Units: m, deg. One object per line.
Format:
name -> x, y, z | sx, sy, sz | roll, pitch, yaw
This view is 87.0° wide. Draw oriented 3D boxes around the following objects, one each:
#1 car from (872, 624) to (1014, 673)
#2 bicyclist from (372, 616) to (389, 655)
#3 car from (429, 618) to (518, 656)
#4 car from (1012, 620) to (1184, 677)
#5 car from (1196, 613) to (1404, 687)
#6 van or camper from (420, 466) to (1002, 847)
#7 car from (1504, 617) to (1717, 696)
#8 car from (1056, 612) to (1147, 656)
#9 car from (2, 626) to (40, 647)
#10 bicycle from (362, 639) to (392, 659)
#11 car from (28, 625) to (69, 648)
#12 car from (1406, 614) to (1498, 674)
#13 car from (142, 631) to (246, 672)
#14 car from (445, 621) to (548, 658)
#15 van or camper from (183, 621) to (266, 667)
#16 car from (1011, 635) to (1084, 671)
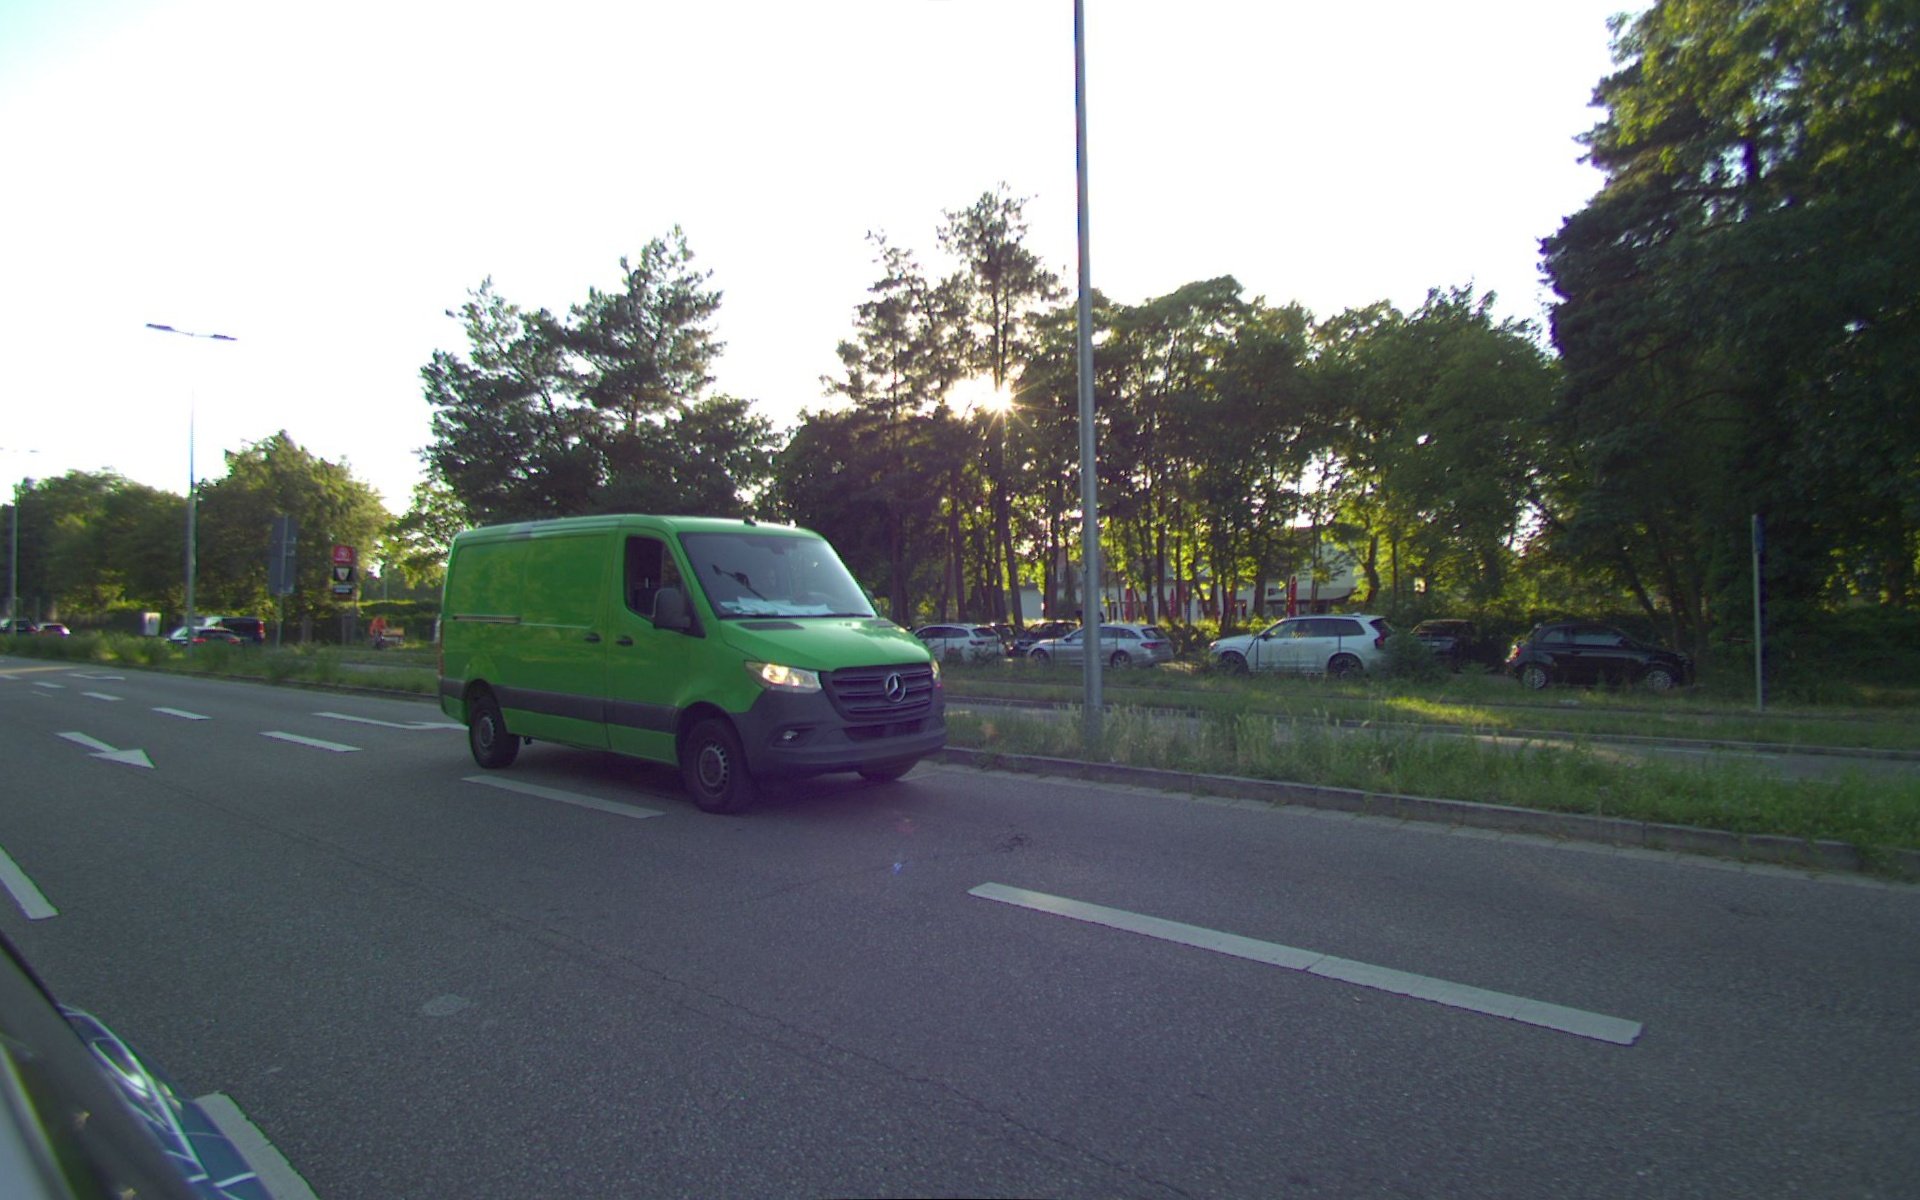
car -> -0.635, 1.626, 34.701 | 4.703, 1.560, 1.975 | -1, -2, 38
bicyclist -> -27.777, 1.698, 48.501 | 0.617, 1.888, 0.454 | -2, -2, 38
car -> -26.202, 1.981, 54.572 | 1.764, 1.959, 3.947 | -2, -3, 39
car -> 4.152, 1.449, 30.903 | 4.915, 1.619, 1.975 | -1, -2, 38
car -> 8.997, 1.291, 27.021 | 4.915, 1.800, 1.975 | -1, -2, 38
van or camper -> -2.560, 0.440, 9.136 | 5.890, 2.439, 1.974 | -2, -2, 39
car -> 14.308, 1.203, 22.360 | 3.808, 1.609, 1.837 | -1, -2, 37
car -> 5.698, 1.347, 40.393 | 1.765, 1.663, 3.946 | -2, -3, 40
car -> -72.872, 2.810, 78.532 | 3.997, 1.552, 1.738 | -1, 0, 40
bicycle -> -27.912, 2.356, 48.446 | 2.041, 0.940, 0.487 | -1, -2, 37
car -> -66.495, 2.639, 73.817 | 3.997, 1.552, 1.738 | -1, 0, 40
car -> 14.896, 1.302, 30.540 | 1.914, 1.663, 3.953 | -1, -2, 35
car -> -30.269, 1.997, 39.956 | 4.502, 1.506, 1.976 | -1, -2, 35
car -> -23.981, 2.045, 52.487 | 1.907, 1.812, 4.441 | -2, -2, 39
van or camper -> -34.090, 1.989, 46.842 | 4.573, 2.029, 1.974 | -2, -2, 39
car -> 3.679, 2.175, 42.225 | 1.460, 1.266, 3.279 | -2, 0, 39
